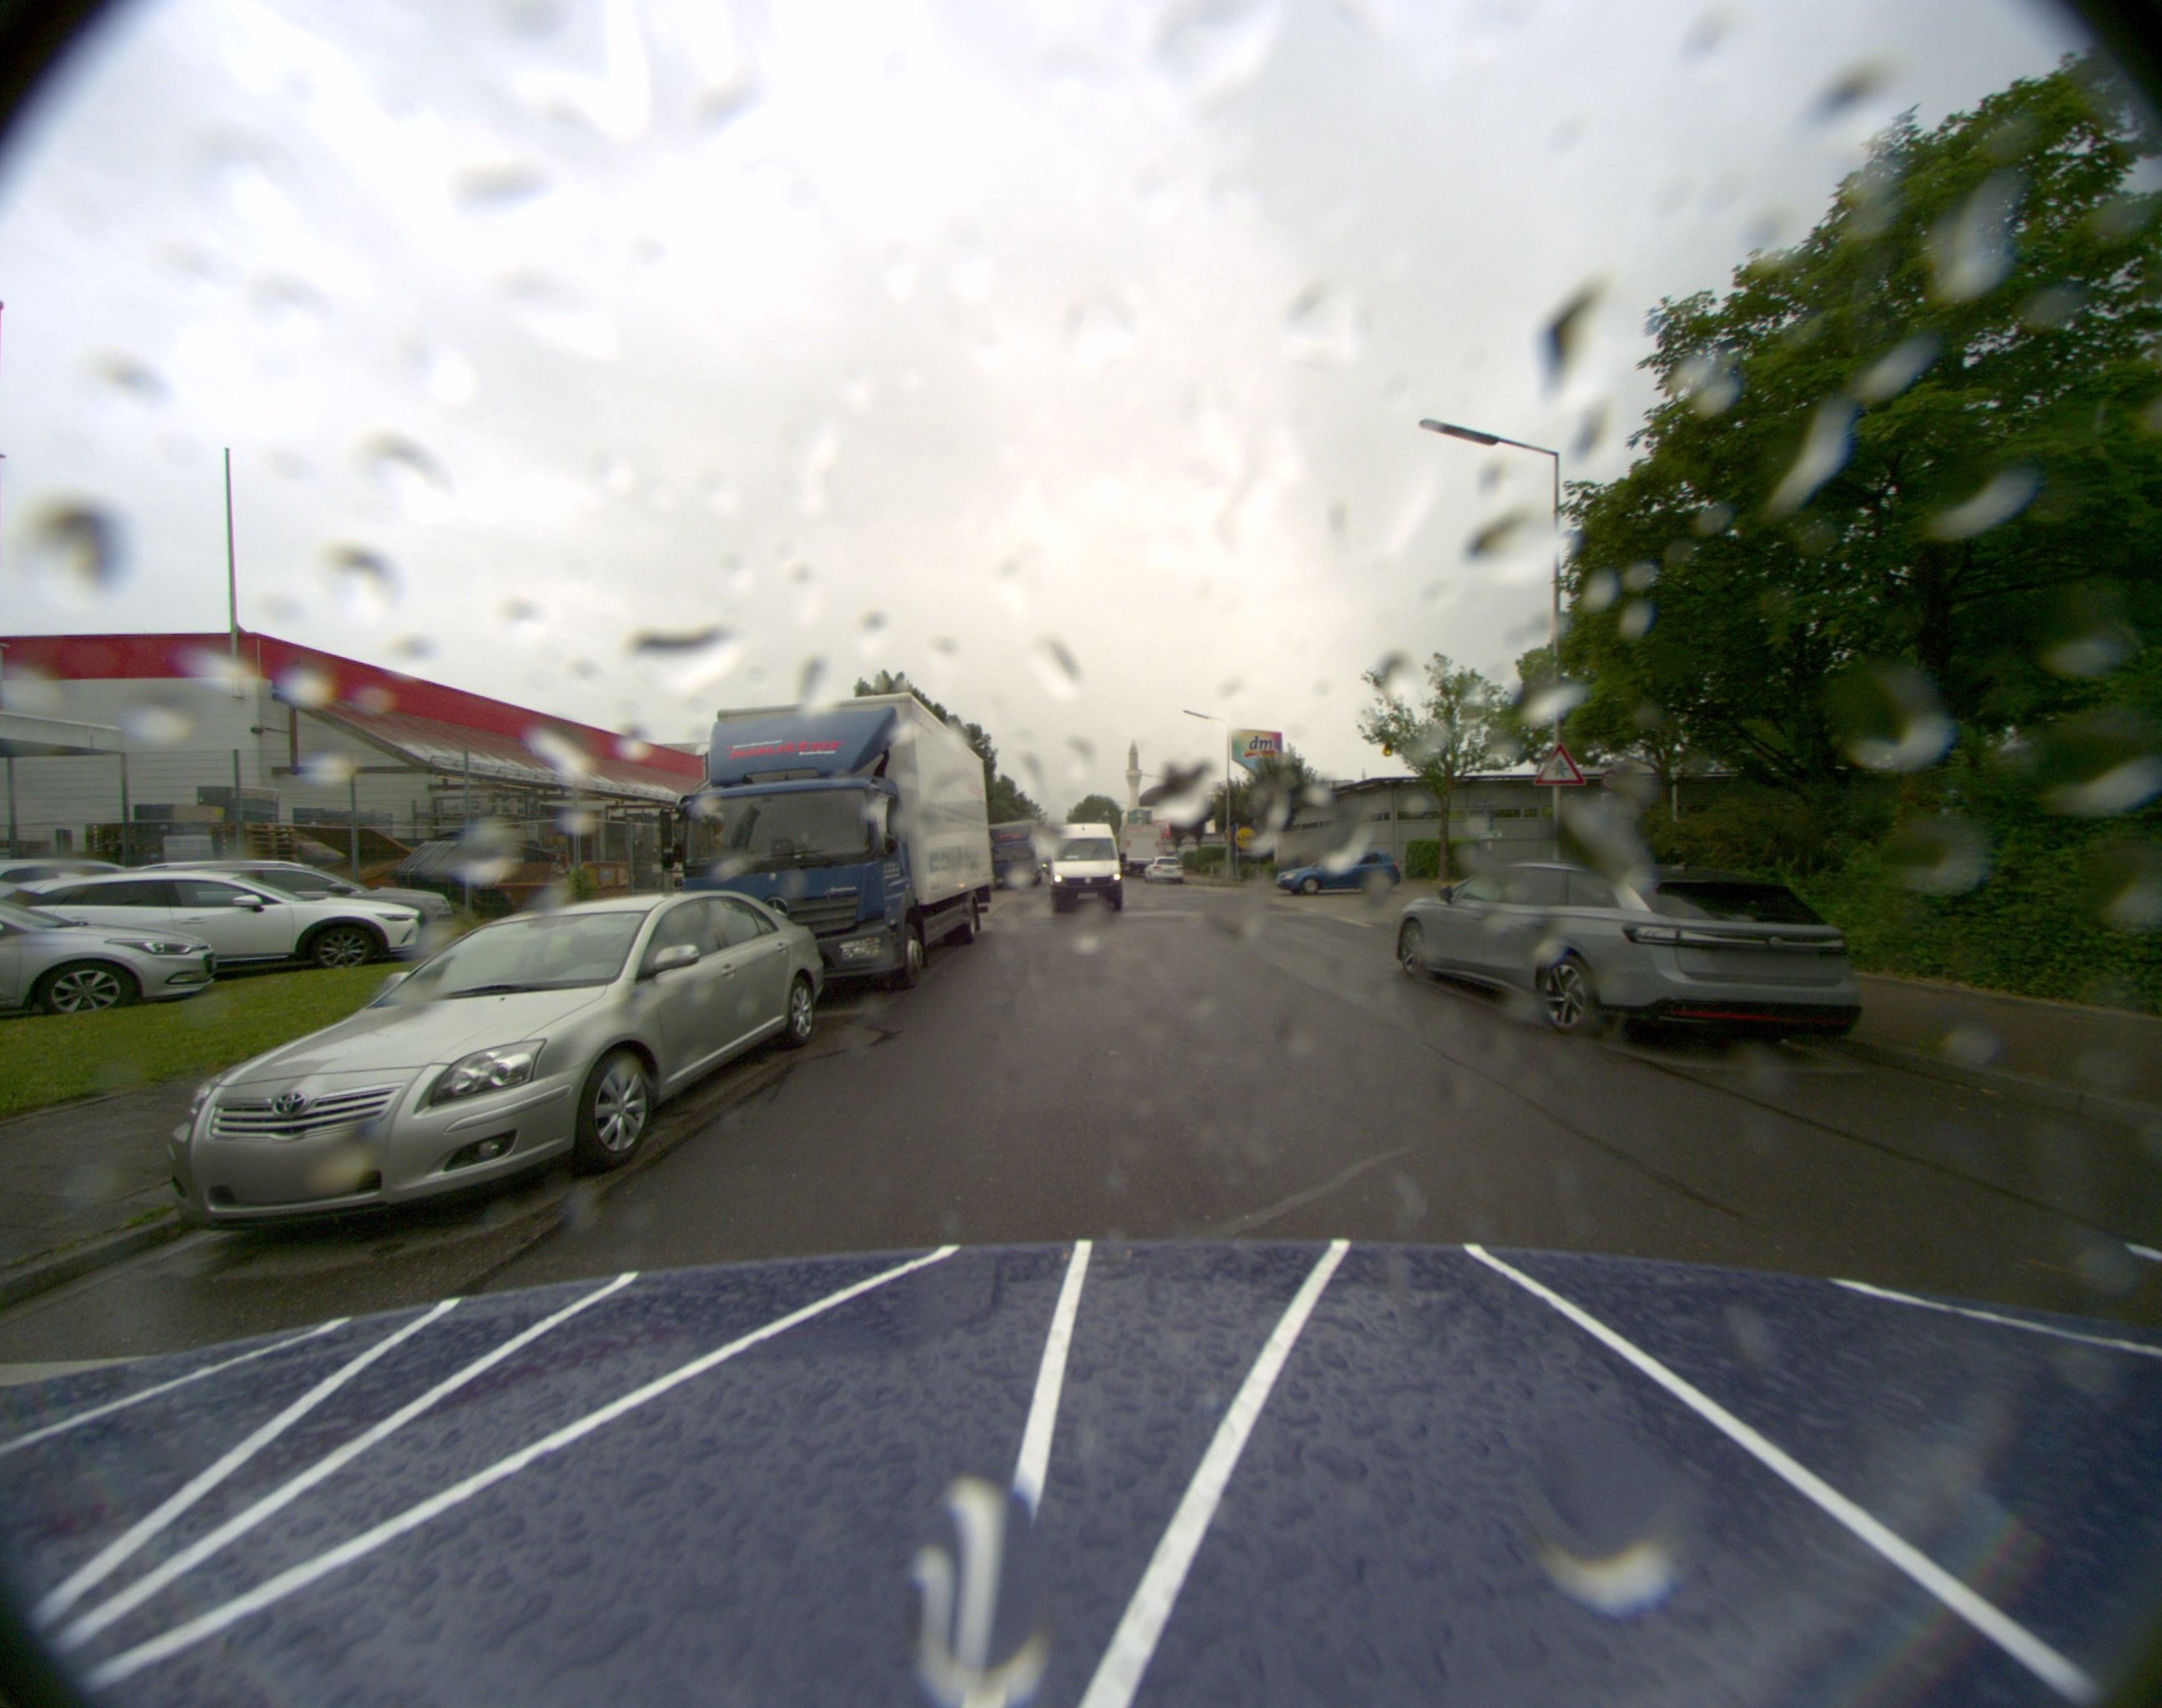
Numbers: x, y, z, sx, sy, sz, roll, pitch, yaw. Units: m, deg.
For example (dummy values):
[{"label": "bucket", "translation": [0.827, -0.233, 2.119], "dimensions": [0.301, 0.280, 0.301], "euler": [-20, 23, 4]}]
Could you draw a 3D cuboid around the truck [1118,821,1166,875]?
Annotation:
[{"label": "truck", "translation": [4.444, -0.430, 57.002], "dimensions": [2.889, 3.724, 7.867], "euler": [-1, 0, 0]}]

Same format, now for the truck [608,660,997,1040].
[{"label": "truck", "translation": [-3.393, -0.055, 12.535], "dimensions": [2.748, 3.767, 9.298], "euler": [-4, 0, 0]}]

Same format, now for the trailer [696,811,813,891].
[{"label": "trailer", "translation": [-19.129, -0.181, 45.346], "dimensions": [2.974, 4.218, 9.470], "euler": [-1, 0, -1]}]

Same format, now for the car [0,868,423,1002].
[{"label": "car", "translation": [-12.138, 0.995, 10.844], "dimensions": [1.770, 1.461, 4.008], "euler": [-1, 0, 45]}]

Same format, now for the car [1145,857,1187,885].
[{"label": "car", "translation": [4.695, 0.900, 42.565], "dimensions": [1.840, 1.426, 4.491], "euler": [0, 0, 0]}]

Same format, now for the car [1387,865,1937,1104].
[{"label": "car", "translation": [5.047, 0.958, 7.719], "dimensions": [1.814, 1.519, 4.747], "euler": [2, 0, -1]}]

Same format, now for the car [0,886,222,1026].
[{"label": "car", "translation": [-11.699, 1.070, 7.592], "dimensions": [1.702, 1.279, 4.008], "euler": [-1, 0, 45]}]

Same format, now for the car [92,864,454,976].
[{"label": "car", "translation": [-13.481, 0.984, 13.035], "dimensions": [1.868, 1.518, 4.008], "euler": [-1, 0, 45]}]

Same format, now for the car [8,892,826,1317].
[{"label": "car", "translation": [-3.376, 1.112, 5.215], "dimensions": [1.802, 1.433, 4.344], "euler": [-1, 0, -1]}]

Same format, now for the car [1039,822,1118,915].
[{"label": "car", "translation": [0.064, 0.377, 23.210], "dimensions": [2.084, 2.466, 5.347], "euler": [-1, 0, 3]}]

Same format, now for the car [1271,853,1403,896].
[{"label": "car", "translation": [8.893, 0.699, 26.600], "dimensions": [3.997, 1.432, 1.736], "euler": [-1, 0, -1]}]

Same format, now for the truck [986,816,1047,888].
[{"label": "truck", "translation": [-3.623, -0.108, 44.454], "dimensions": [2.678, 3.670, 8.008], "euler": [-4, 0, -1]}]

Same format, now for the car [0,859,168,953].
[{"label": "car", "translation": [-17.407, 0.826, 12.516], "dimensions": [1.402, 1.417, 2.747], "euler": [-1, 0, -1]}]
